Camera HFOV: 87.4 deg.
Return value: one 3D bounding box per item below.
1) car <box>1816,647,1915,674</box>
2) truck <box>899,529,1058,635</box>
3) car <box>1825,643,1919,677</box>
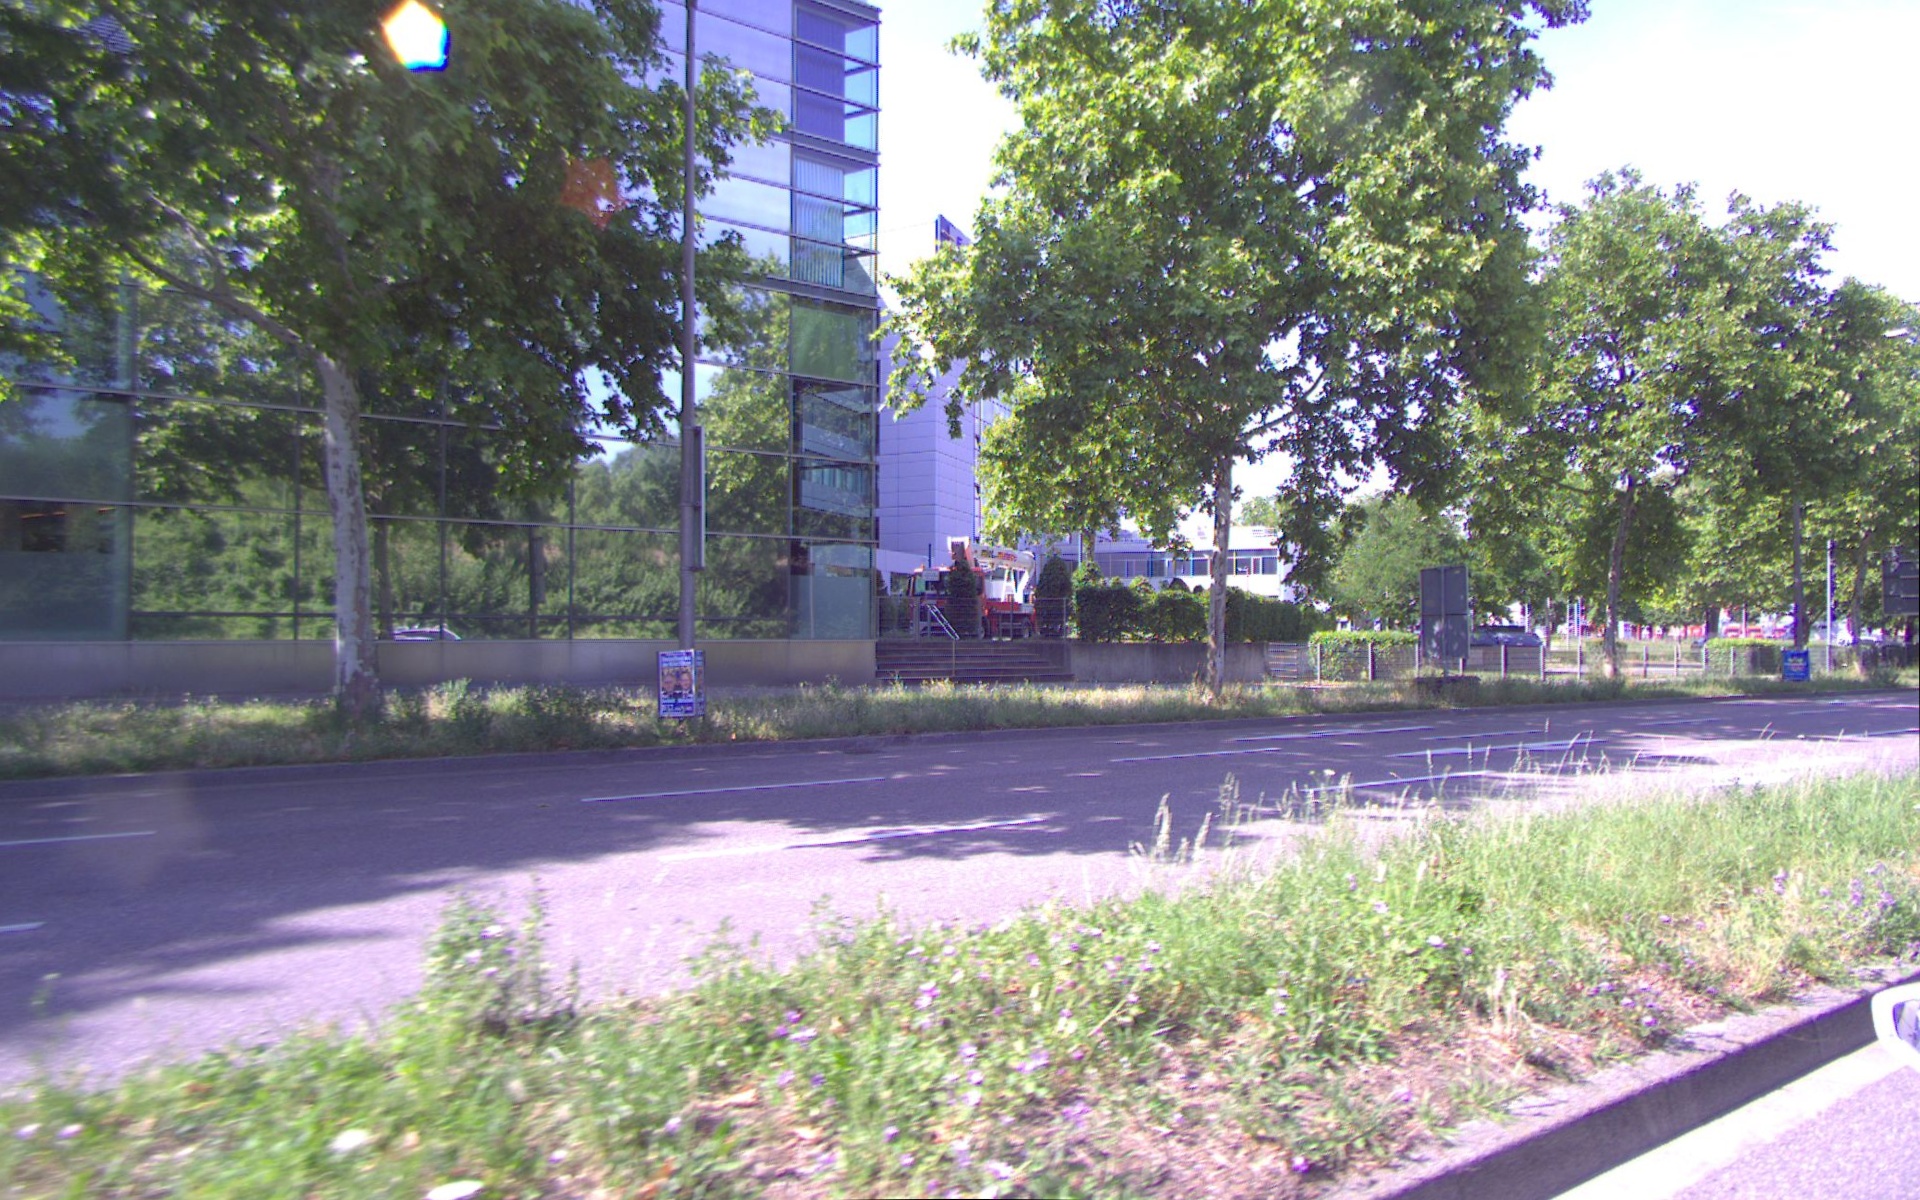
[{"bbox_3d":[53.187,3.556,59.075,1.751,1.483,3.971,1,-2,-29],"label":"car"},{"bbox_3d":[0.960,-0.435,37.192,2.622,3.440,8.985,0,-2,24],"label":"truck"},{"bbox_3d":[55.649,3.638,61.166,2.128,1.847,3.974,2,-1,-26],"label":"car"}]
